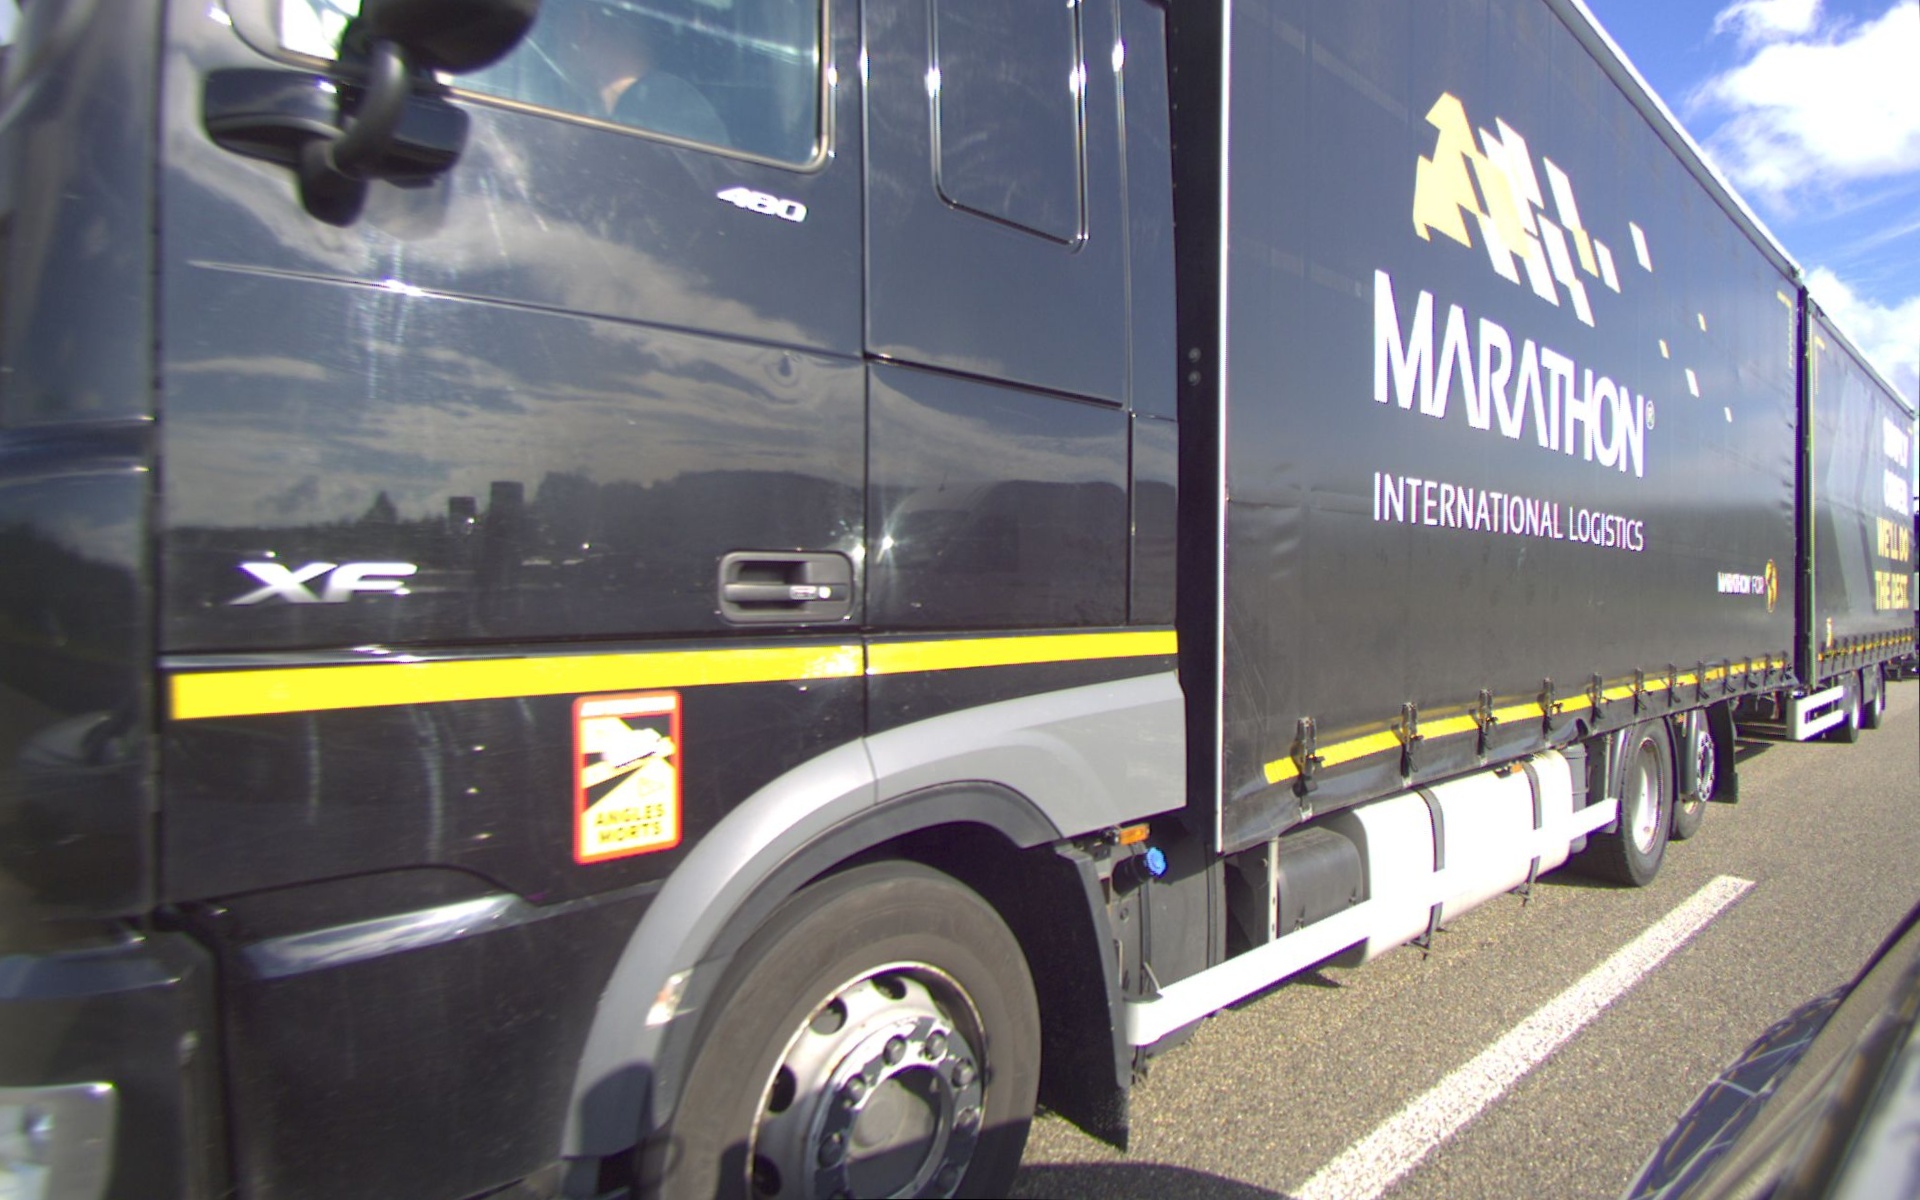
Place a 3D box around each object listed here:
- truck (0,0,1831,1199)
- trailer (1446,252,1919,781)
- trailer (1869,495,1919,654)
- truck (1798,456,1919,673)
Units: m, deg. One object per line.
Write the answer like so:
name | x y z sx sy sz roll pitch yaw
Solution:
truck | 1.860 -0.637 5.293 10.027 4.090 2.744 0 -1 -42
trailer | 8.788 -0.596 11.527 8.560 4.012 2.719 1 -2 -42
trailer | 28.255 -0.670 28.799 8.771 4.121 2.415 0 -2 -41
truck | 21.444 -0.666 22.777 9.496 4.121 2.415 0 -2 -41
